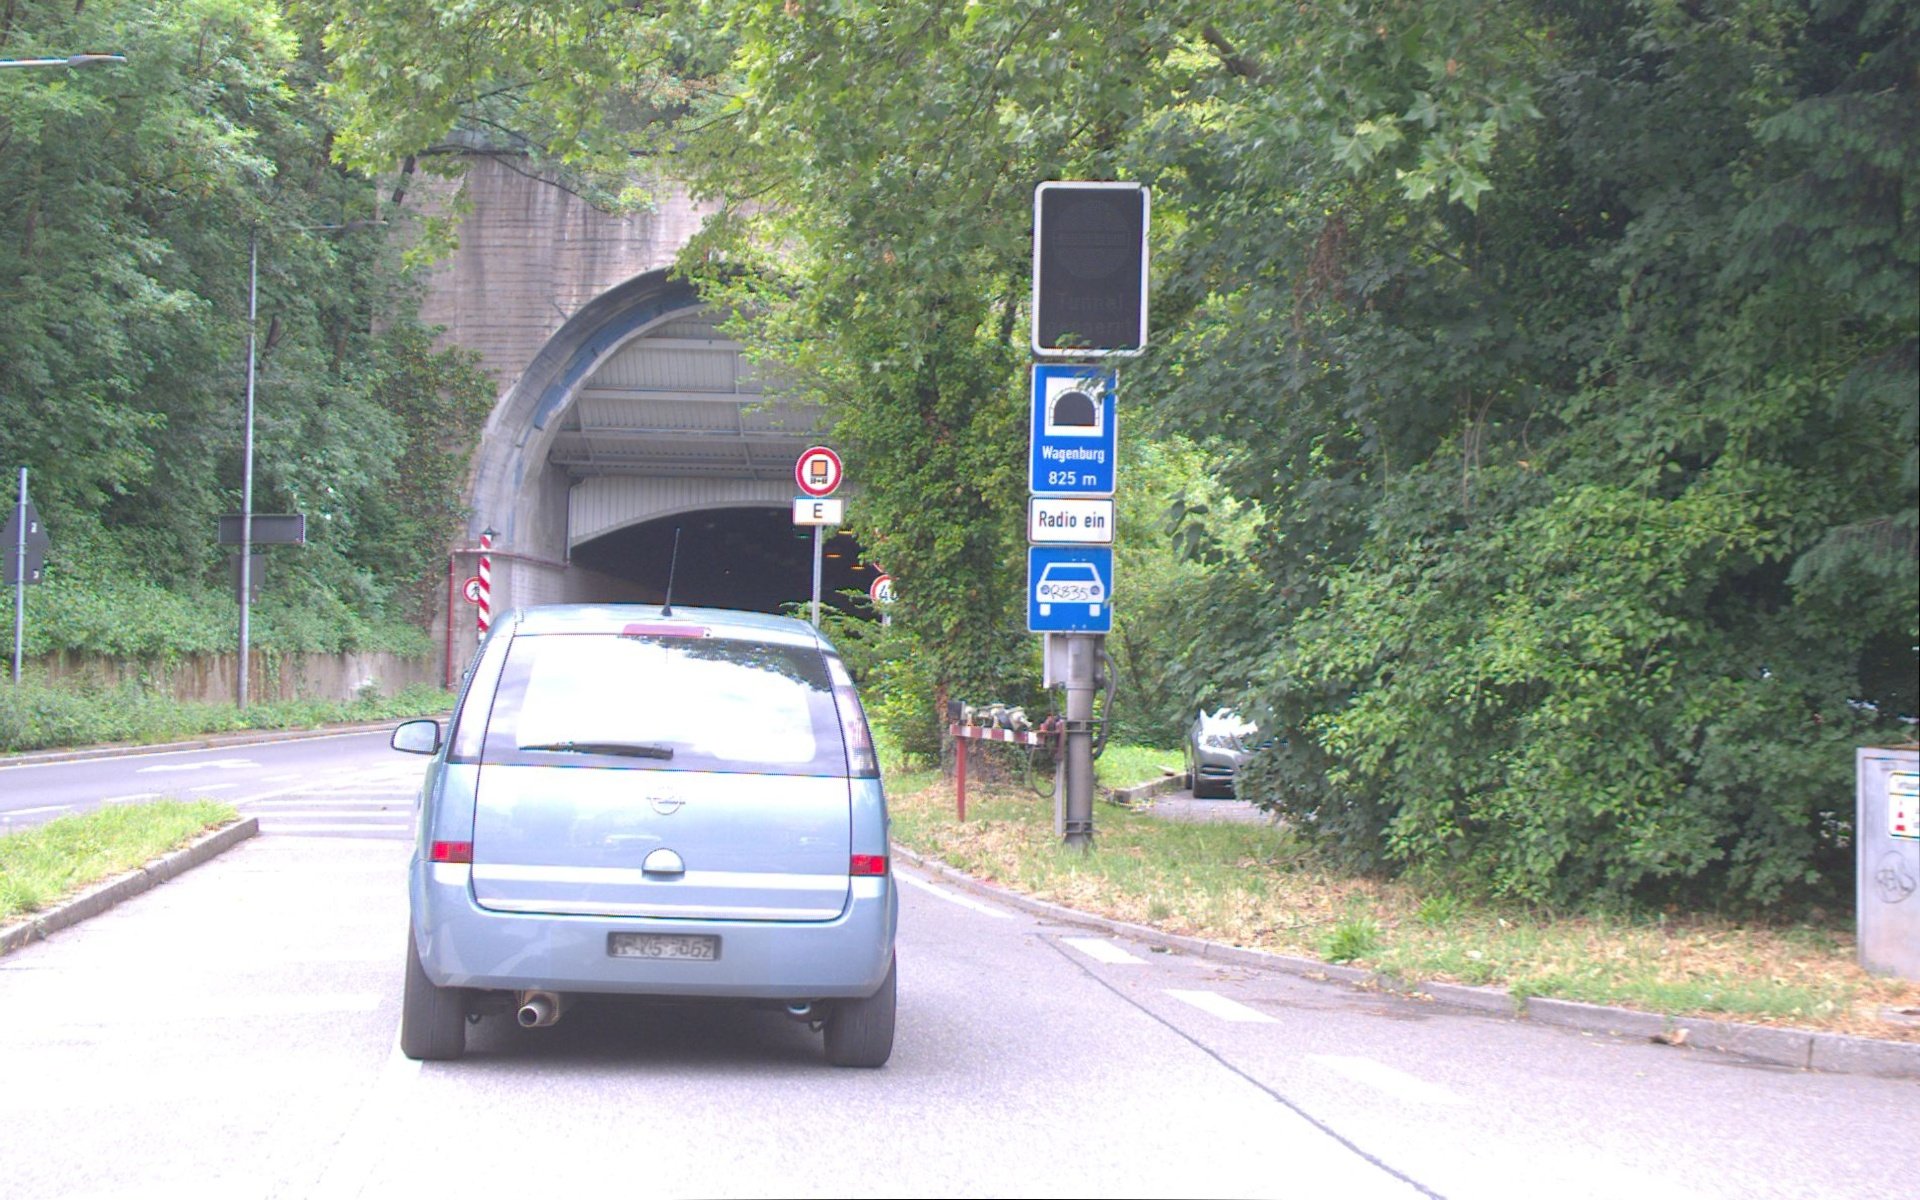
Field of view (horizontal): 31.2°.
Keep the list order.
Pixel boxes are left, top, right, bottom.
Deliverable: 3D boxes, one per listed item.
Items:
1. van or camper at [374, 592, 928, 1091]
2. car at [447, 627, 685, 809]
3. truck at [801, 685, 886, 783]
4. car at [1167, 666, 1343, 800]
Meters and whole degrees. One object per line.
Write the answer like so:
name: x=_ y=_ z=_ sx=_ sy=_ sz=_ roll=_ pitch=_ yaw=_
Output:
van or camper: x=-1.236 y=0.826 z=12.894 sx=1.735 sy=1.573 sz=3.646 roll=2 pitch=-2 yaw=-8
car: x=-3.745 y=1.129 z=33.320 sx=1.993 sy=1.648 sz=4.000 roll=0 pitch=-2 yaw=-2
truck: x=-4.565 y=5.254 z=136.138 sx=2.676 sy=3.655 sz=7.516 roll=2 pitch=-1 yaw=2
car: x=3.457 y=1.537 z=41.035 sx=1.785 sy=1.437 sz=5.062 roll=0 pitch=-1 yaw=2
